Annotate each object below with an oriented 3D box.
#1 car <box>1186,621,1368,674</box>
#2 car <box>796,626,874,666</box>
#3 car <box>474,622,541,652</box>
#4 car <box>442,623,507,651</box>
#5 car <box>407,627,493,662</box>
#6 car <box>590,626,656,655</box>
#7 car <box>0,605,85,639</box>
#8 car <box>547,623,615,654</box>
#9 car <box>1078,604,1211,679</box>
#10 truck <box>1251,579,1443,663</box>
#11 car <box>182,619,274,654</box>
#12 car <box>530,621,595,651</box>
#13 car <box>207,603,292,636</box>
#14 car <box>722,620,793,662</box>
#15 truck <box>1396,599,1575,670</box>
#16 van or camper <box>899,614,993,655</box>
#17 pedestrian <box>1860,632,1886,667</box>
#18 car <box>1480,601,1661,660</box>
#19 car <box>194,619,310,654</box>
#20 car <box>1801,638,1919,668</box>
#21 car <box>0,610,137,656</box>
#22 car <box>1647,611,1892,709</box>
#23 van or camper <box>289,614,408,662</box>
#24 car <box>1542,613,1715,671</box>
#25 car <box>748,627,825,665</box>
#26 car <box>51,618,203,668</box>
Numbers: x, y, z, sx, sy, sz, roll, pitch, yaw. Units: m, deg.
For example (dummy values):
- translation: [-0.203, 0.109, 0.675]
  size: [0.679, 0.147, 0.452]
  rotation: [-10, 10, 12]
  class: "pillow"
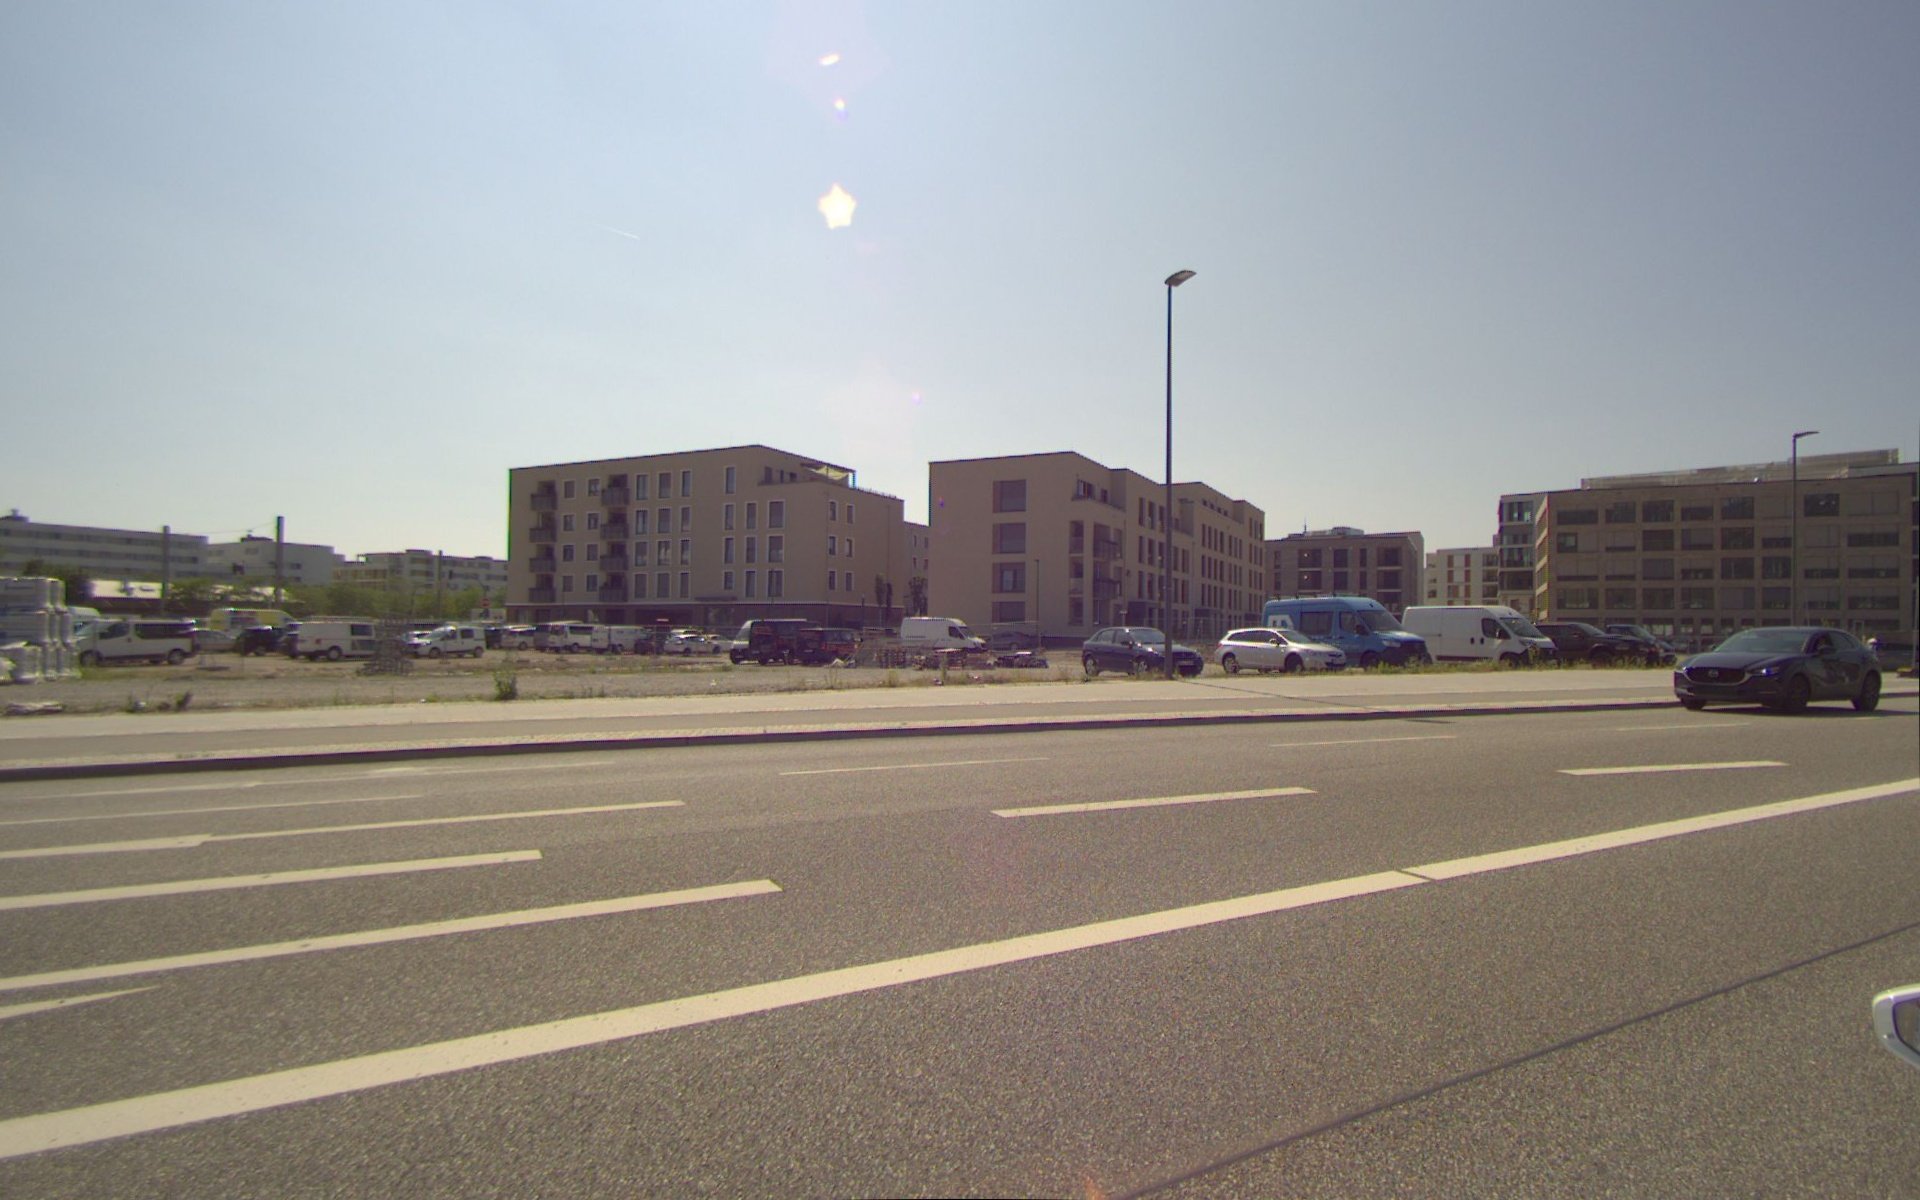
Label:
- translation: [10.046, 1.458, 32.311]
  size: [2.083, 1.494, 5.621]
  rotation: [1, -1, -31]
  class: "car"
- translation: [-6.390, 2.320, 51.859]
  size: [1.965, 1.873, 3.991]
  rotation: [1, 0, 31]
  class: "car"
- translation: [-32.417, 2.631, 72.095]
  size: [1.965, 2.040, 3.991]
  rotation: [1, 0, 31]
  class: "car"
- translation: [-36.657, 2.759, 75.957]
  size: [1.965, 2.040, 3.991]
  rotation: [1, 0, 31]
  class: "car"
- translation: [-29.369, 2.533, 57.961]
  size: [1.963, 1.906, 3.995]
  rotation: [-1, -2, 28]
  class: "car"
- translation: [-23.046, 2.730, 68.856]
  size: [1.965, 1.811, 3.991]
  rotation: [1, 0, 31]
  class: "car"
- translation: [-56.620, 1.367, 61.308]
  size: [1.805, 1.996, 4.476]
  rotation: [-1, -2, 28]
  class: "car"
- translation: [-26.204, 2.618, 69.551]
  size: [1.965, 2.040, 3.991]
  rotation: [1, 0, 31]
  class: "car"
- translation: [5.028, 1.134, 27.856]
  size: [1.801, 1.929, 3.980]
  rotation: [1, -2, -22]
  class: "car"
- translation: [12.924, 0.732, 34.016]
  size: [2.249, 2.577, 5.973]
  rotation: [1, -2, -31]
  class: "truck"
- translation: [-43.663, 2.159, 60.022]
  size: [1.963, 2.040, 3.996]
  rotation: [-1, -2, 26]
  class: "car"
- translation: [-28.388, 2.539, 71.819]
  size: [1.965, 2.040, 3.991]
  rotation: [1, 0, 31]
  class: "car"
- translation: [-45.620, 1.291, 64.614]
  size: [1.963, 2.040, 3.996]
  rotation: [-1, -2, 26]
  class: "car"
- translation: [-11.471, 2.320, 57.215]
  size: [1.962, 2.270, 3.997]
  rotation: [0, -1, 25]
  class: "car"
- translation: [19.329, 1.272, 37.258]
  size: [2.249, 2.394, 5.539]
  rotation: [1, -2, -31]
  class: "truck"
- translation: [-0.922, 2.201, 65.216]
  size: [5.812, 2.592, 1.936]
  rotation: [0, -2, 20]
  class: "van or camper"
- translation: [44.973, 2.437, 49.490]
  size: [0.745, 1.706, 0.683]
  rotation: [3, -1, -23]
  class: "pedestrian"
- translation: [24.611, 1.231, 40.757]
  size: [2.369, 2.194, 5.850]
  rotation: [1, -2, -32]
  class: "car"
- translation: [-42.550, 2.178, 60.541]
  size: [1.963, 1.996, 5.389]
  rotation: [0, -1, 28]
  class: "car"
- translation: [43.386, 2.527, 48.287]
  size: [4.168, 1.335, 1.998]
  rotation: [-1, -2, 26]
  class: "car"
- translation: [-41.378, 1.541, 46.517]
  size: [1.963, 1.996, 4.648]
  rotation: [-1, -2, 28]
  class: "car"
- translation: [15.102, 1.071, 18.729]
  size: [4.328, 1.649, 1.897]
  rotation: [1, -2, -26]
  class: "car"
- translation: [-31.648, 1.981, 52.144]
  size: [1.963, 2.314, 4.930]
  rotation: [1, -2, 28]
  class: "van or camper"
- translation: [27.115, 1.675, 40.971]
  size: [2.370, 2.202, 5.412]
  rotation: [1, -2, -33]
  class: "car"
- translation: [-9.225, 2.398, 53.665]
  size: [1.965, 1.873, 3.991]
  rotation: [1, 0, 31]
  class: "car"
- translation: [-35.987, 1.826, 43.548]
  size: [1.963, 2.040, 4.648]
  rotation: [-1, -2, 28]
  class: "car"
